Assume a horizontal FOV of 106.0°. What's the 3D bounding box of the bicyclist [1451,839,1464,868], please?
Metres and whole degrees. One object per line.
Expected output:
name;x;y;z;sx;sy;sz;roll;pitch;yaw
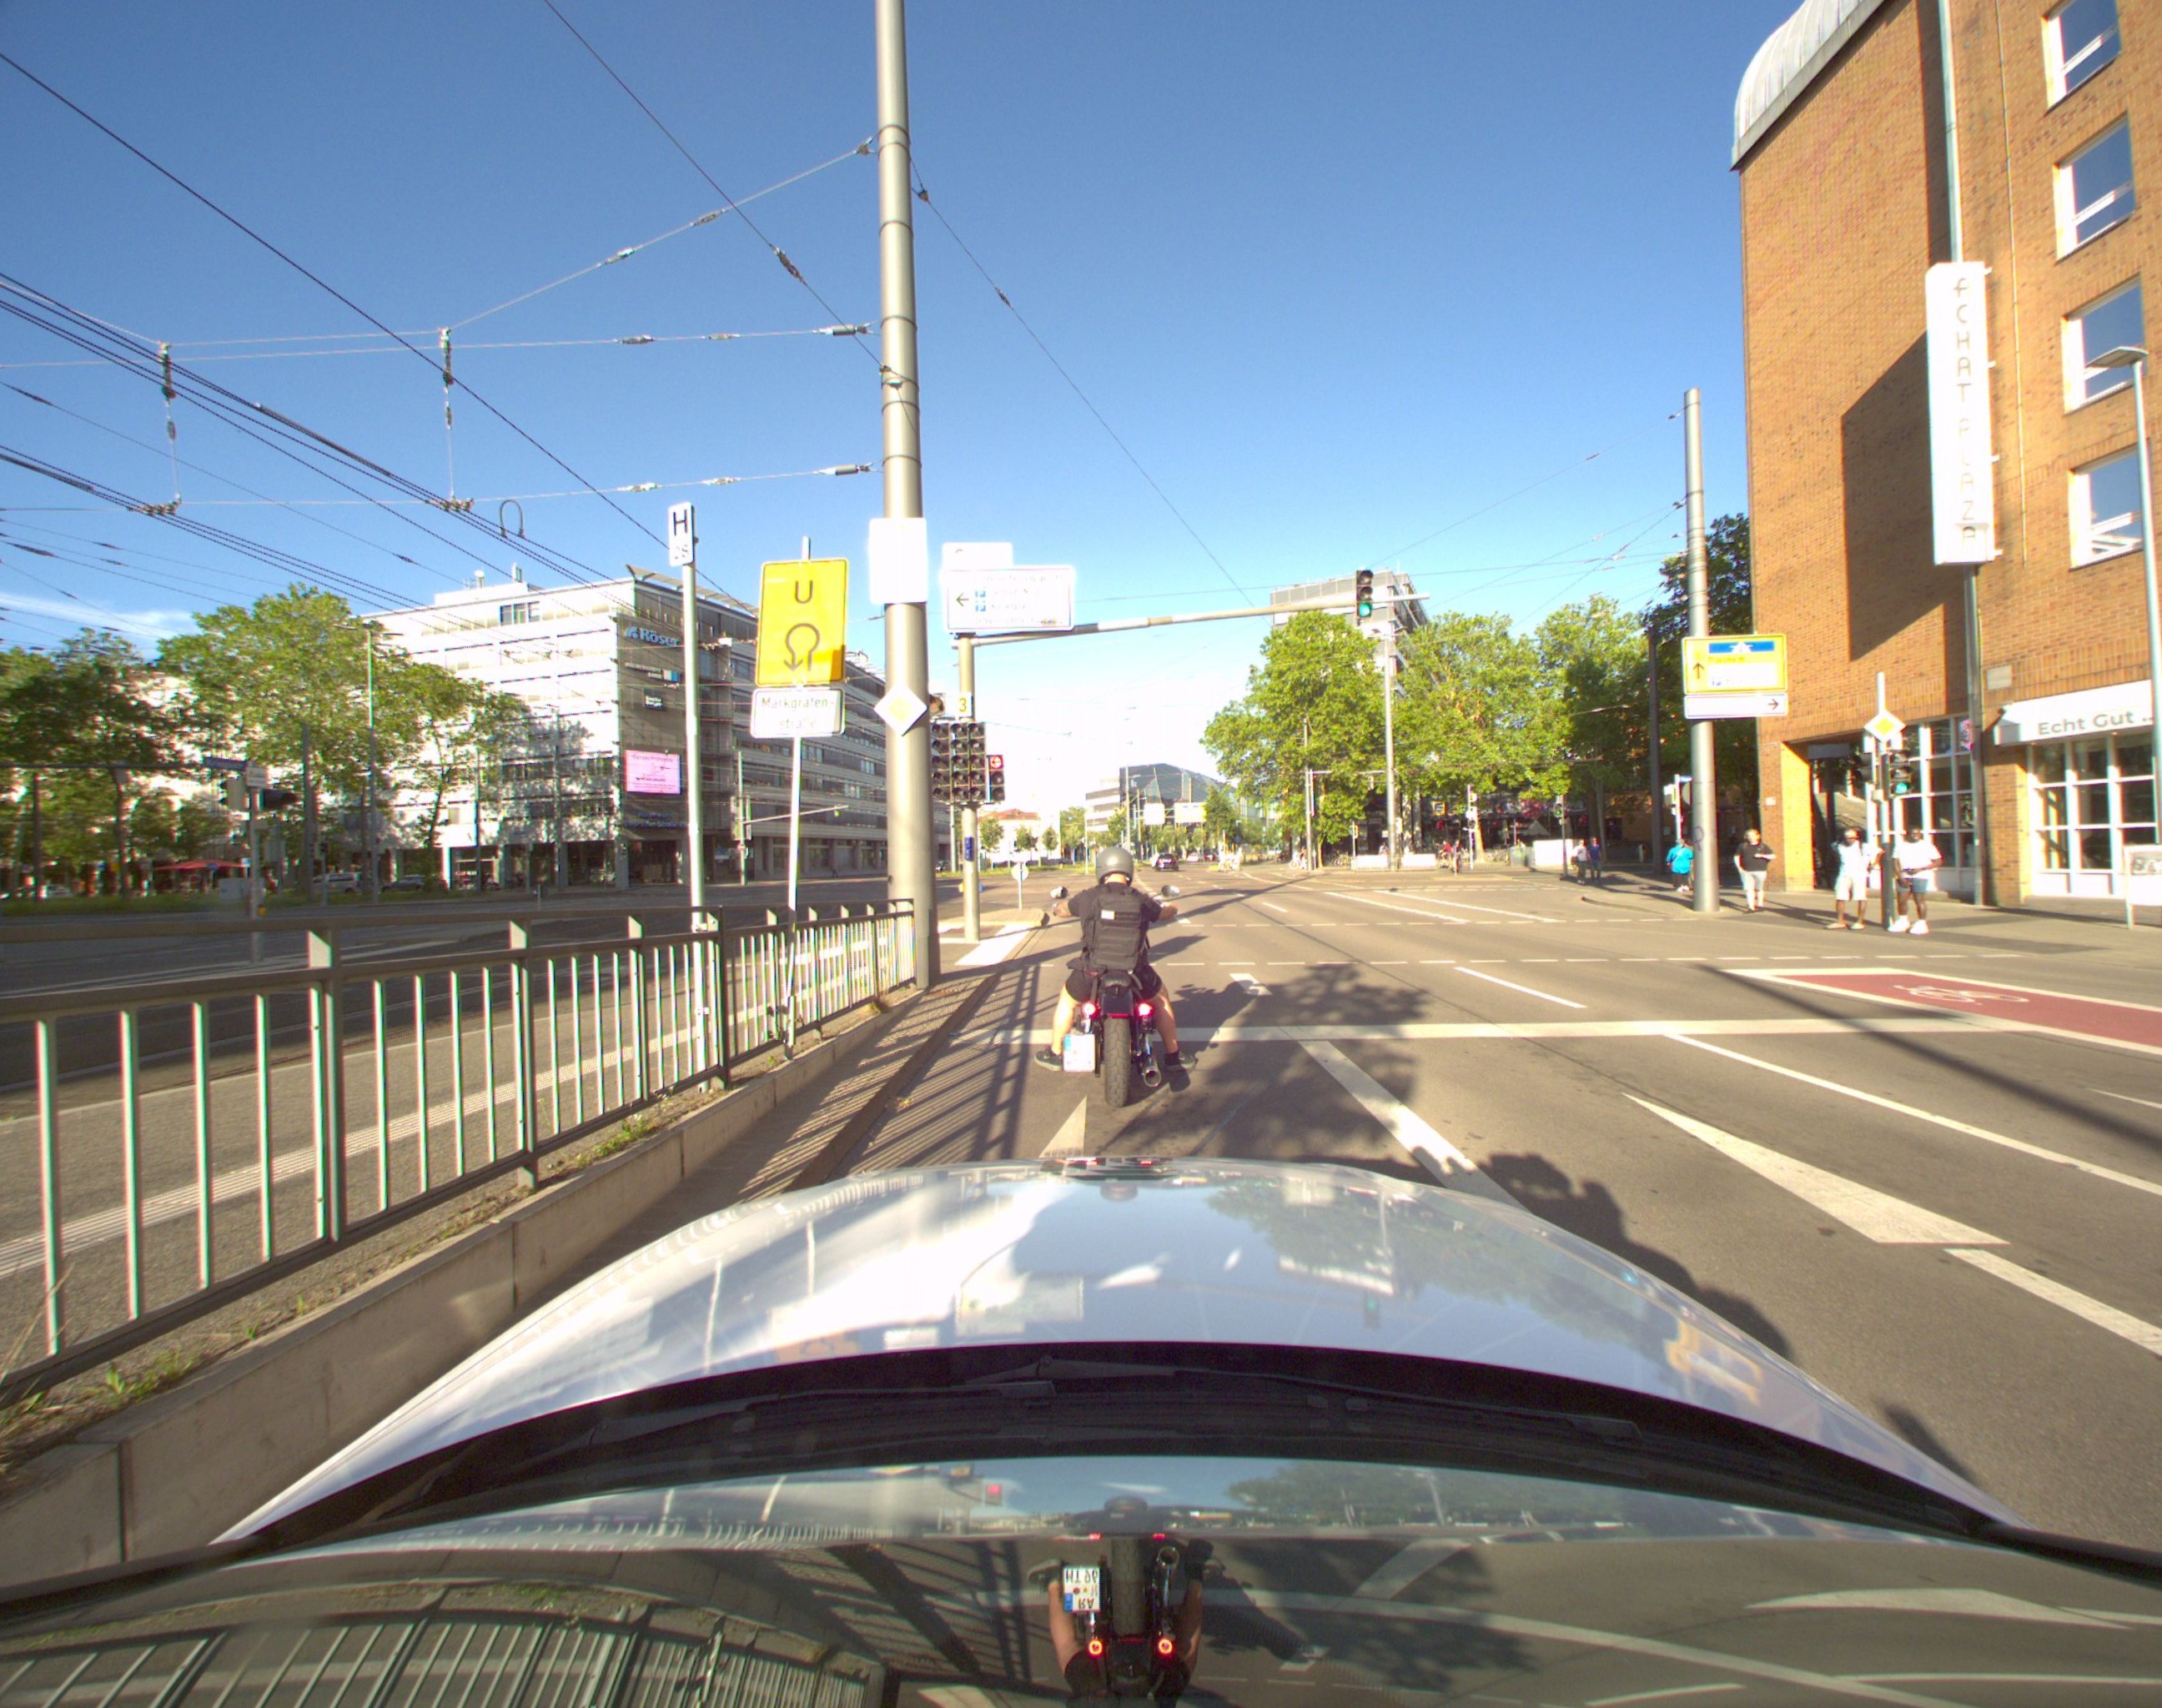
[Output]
bicyclist;20.396;-0.016;44.104;0.561;1.519;0.636;-1;-1;17

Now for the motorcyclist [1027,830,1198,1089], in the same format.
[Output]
motorcyclist;0.211;0.662;5.529;1.027;1.593;0.874;-2;0;1

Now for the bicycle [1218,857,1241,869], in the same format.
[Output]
bicycle;12.215;0.756;66.948;1.823;0.925;0.357;0;-1;-7

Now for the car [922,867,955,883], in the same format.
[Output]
car;-13.794;2.043;79.095;1.737;1.524;4.014;-1;-1;13

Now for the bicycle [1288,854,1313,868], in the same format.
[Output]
bicycle;17.544;0.568;64.983;1.854;1.044;0.540;-1;-1;20

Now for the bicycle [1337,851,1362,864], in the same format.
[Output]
bicycle;21.538;0.286;65.378;1.874;1.046;0.360;0;-1;1

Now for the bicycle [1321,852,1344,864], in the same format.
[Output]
bicycle;21.362;0.354;69.152;1.874;1.046;0.360;0;0;1

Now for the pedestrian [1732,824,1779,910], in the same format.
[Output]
pedestrian;14.395;0.271;17.385;0.727;1.792;0.515;-1;-1;42

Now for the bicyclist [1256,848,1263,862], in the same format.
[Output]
bicyclist;22.483;0.157;102.613;0.693;1.808;0.730;0;-1;6

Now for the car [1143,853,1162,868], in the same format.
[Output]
car;7.546;0.648;85.562;1.793;1.430;4.463;-2;0;8

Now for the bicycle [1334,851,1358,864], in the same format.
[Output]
bicycle;21.522;0.309;66.161;1.874;1.046;0.360;0;-1;1

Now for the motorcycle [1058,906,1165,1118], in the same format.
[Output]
motorcycle;0.206;0.957;5.683;0.598;1.036;2.235;0;0;2

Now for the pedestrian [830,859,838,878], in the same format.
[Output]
pedestrian;-26.109;1.560;86.098;0.628;2.014;0.754;0;-1;2

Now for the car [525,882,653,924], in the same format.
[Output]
car;-13.875;1.358;23.118;2.884;1.063;1.235;0;-1;-19

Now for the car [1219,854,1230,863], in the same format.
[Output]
car;27.503;0.891;155.834;1.717;1.838;3.589;-1;-1;14

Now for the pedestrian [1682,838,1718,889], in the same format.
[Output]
pedestrian;18.241;0.287;24.016;0.590;1.476;0.552;-2;-1;2

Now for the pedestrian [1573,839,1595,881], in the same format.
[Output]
pedestrian;18.683;0.220;30.273;0.561;1.533;0.706;-1;-1;22

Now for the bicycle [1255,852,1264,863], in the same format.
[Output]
bicycle;22.467;0.497;102.408;0.722;1.367;2.922;0;-1;6

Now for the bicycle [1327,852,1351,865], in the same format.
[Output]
bicycle;21.589;0.359;68.163;1.874;1.046;0.360;0;-1;1

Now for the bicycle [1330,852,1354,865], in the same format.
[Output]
bicycle;21.602;0.351;67.531;1.874;1.046;0.360;0;0;1

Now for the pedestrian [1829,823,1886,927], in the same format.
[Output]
pedestrian;13.685;0.370;14.361;0.586;1.780;0.686;-3;-1;38

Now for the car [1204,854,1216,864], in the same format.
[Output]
car;23.055;0.864;145.522;1.790;1.678;4.055;0;-1;14

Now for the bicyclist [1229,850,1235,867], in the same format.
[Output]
bicyclist;12.410;0.395;66.972;0.380;1.373;0.344;0;-1;-7

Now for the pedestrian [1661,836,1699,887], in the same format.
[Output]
pedestrian;17.444;0.230;23.719;0.590;1.452;0.601;-2;-1;2

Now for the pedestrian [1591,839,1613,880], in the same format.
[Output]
pedestrian;19.238;0.207;30.076;0.561;1.479;0.706;-1;-1;22

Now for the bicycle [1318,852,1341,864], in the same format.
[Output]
bicycle;21.426;0.359;70.303;1.874;1.046;0.360;0;0;1

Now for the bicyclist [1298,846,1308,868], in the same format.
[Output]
bicyclist;17.731;0.246;64.918;0.682;1.673;0.544;-2;-2;21

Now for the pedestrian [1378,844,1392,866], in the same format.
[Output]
pedestrian;23.595;0.051;63.225;0.829;1.704;0.760;0;-1;2

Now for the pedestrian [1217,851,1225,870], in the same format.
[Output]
pedestrian;11.848;0.545;68.869;0.587;1.557;0.488;0;-1;-6

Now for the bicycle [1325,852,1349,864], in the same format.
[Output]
bicycle;21.597;0.353;68.649;1.874;1.046;0.360;0;0;1

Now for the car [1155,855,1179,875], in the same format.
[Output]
car;7.674;0.956;72.423;1.793;1.595;4.464;-2;0;9

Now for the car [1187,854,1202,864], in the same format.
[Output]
car;18.704;0.823;134.081;1.790;1.430;4.470;-2;0;14

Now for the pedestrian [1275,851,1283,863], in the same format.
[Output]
pedestrian;21.966;0.284;90.309;0.814;1.314;0.640;-1;-1;11

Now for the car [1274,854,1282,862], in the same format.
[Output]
car;42.288;0.897;174.839;1.519;1.838;3.589;-1;-1;15

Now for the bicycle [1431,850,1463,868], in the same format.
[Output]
bicycle;25.220;0.352;56.140;2.034;1.214;0.421;0;-1;2

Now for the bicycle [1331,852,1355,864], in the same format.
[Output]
bicycle;21.546;0.332;66.975;1.874;1.046;0.360;0;-1;1

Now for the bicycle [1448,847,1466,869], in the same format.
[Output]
bicycle;20.392;0.217;44.144;0.562;1.178;2.340;-1;-1;17

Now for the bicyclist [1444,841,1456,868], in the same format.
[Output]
bicyclist;25.440;0.042;56.139;0.582;1.837;0.403;0;-1;1

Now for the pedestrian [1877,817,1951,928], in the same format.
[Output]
pedestrian;13.786;0.303;13.480;0.682;1.780;0.589;-2;-1;-24
